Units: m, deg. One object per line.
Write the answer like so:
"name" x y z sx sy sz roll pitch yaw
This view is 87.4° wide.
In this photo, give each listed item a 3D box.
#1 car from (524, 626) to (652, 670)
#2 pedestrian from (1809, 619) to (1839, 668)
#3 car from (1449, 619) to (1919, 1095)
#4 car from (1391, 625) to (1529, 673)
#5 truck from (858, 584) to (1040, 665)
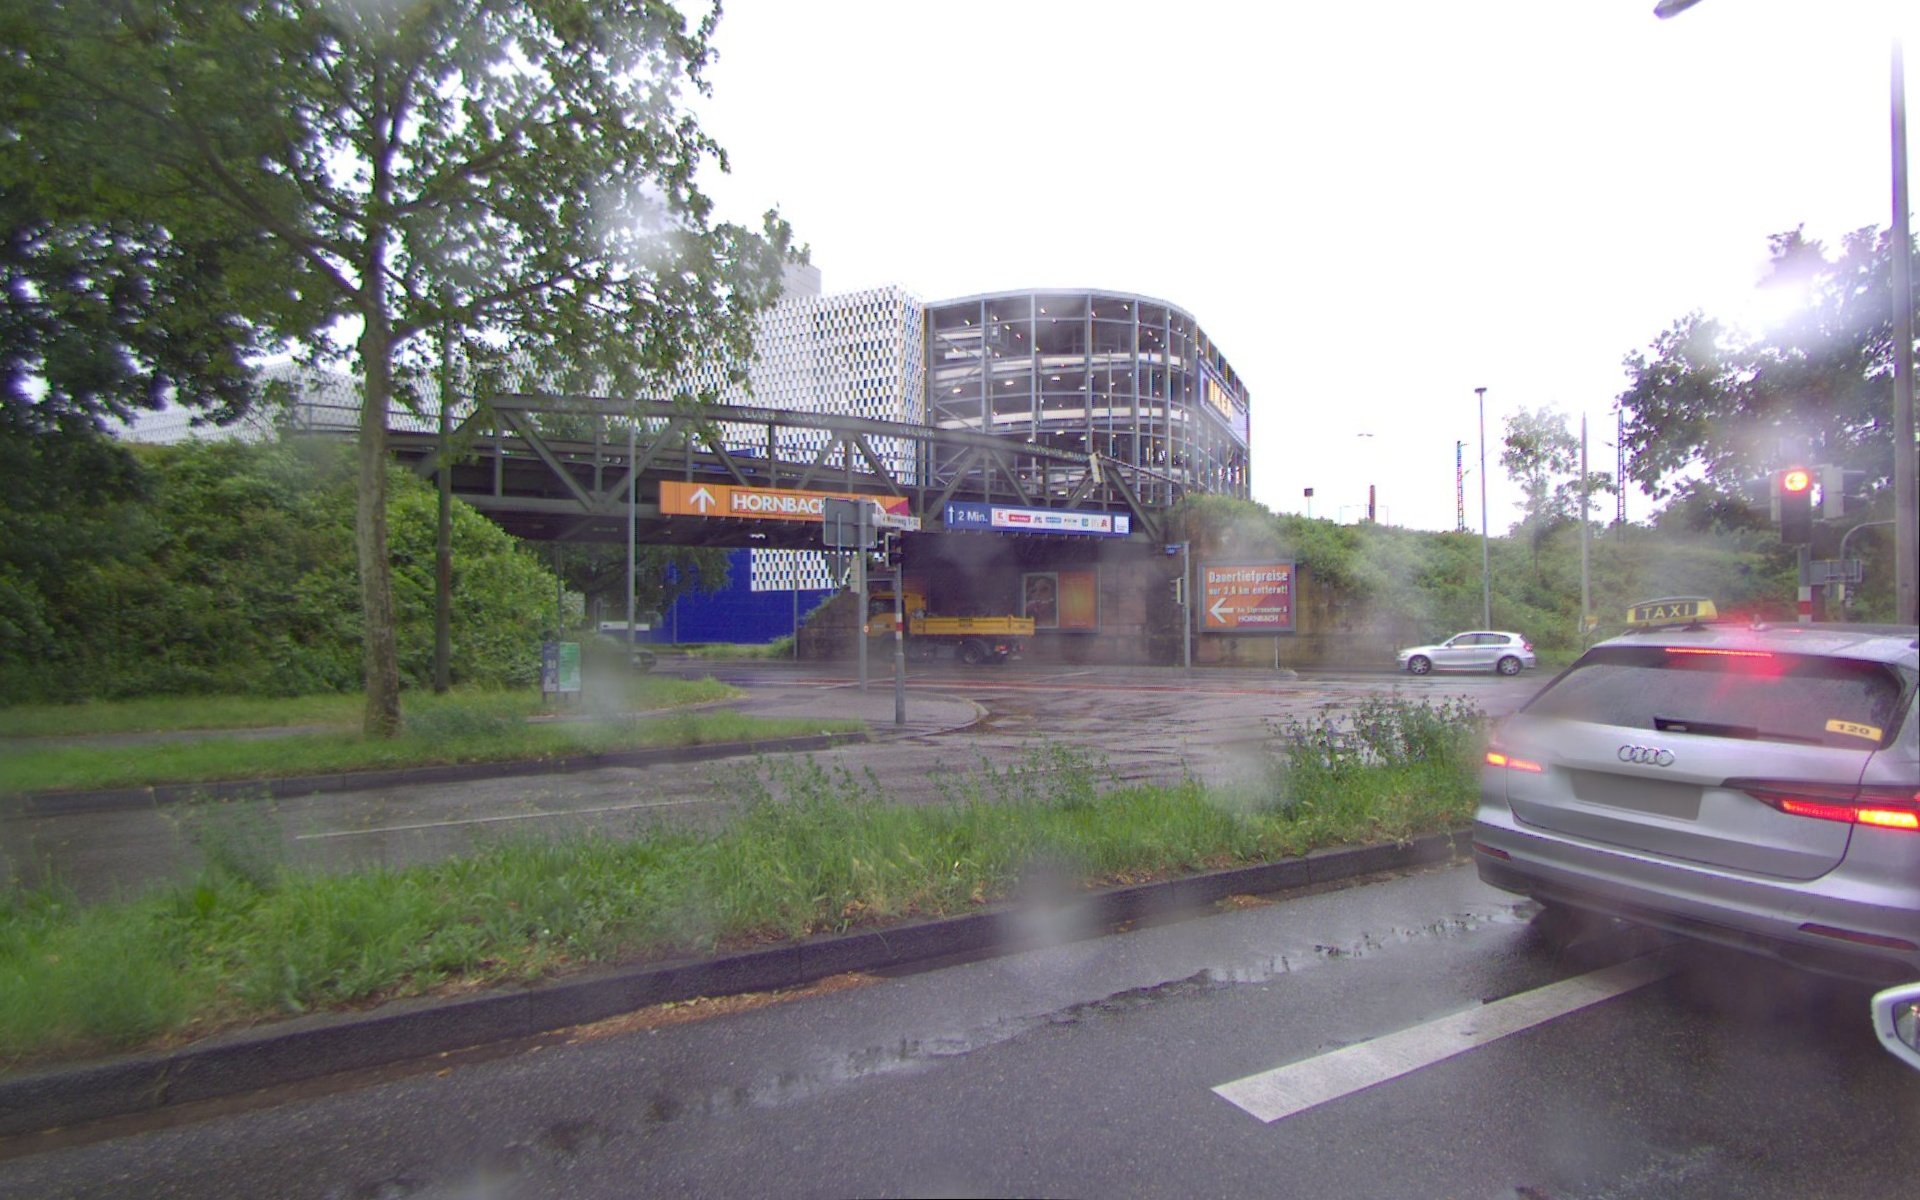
"car" -14.319 1.806 38.598 4.967 1.553 1.996 0 -1 32
"pedestrian" 32.545 1.638 37.834 0.661 1.809 0.533 2 0 -12
"car" 4.537 0.846 4.882 4.521 1.452 1.682 1 -1 -30
"car" 16.466 1.589 33.301 3.923 1.505 1.818 -1 -2 22
"truck" -0.449 1.012 40.731 6.914 3.094 2.646 -1 -2 23
